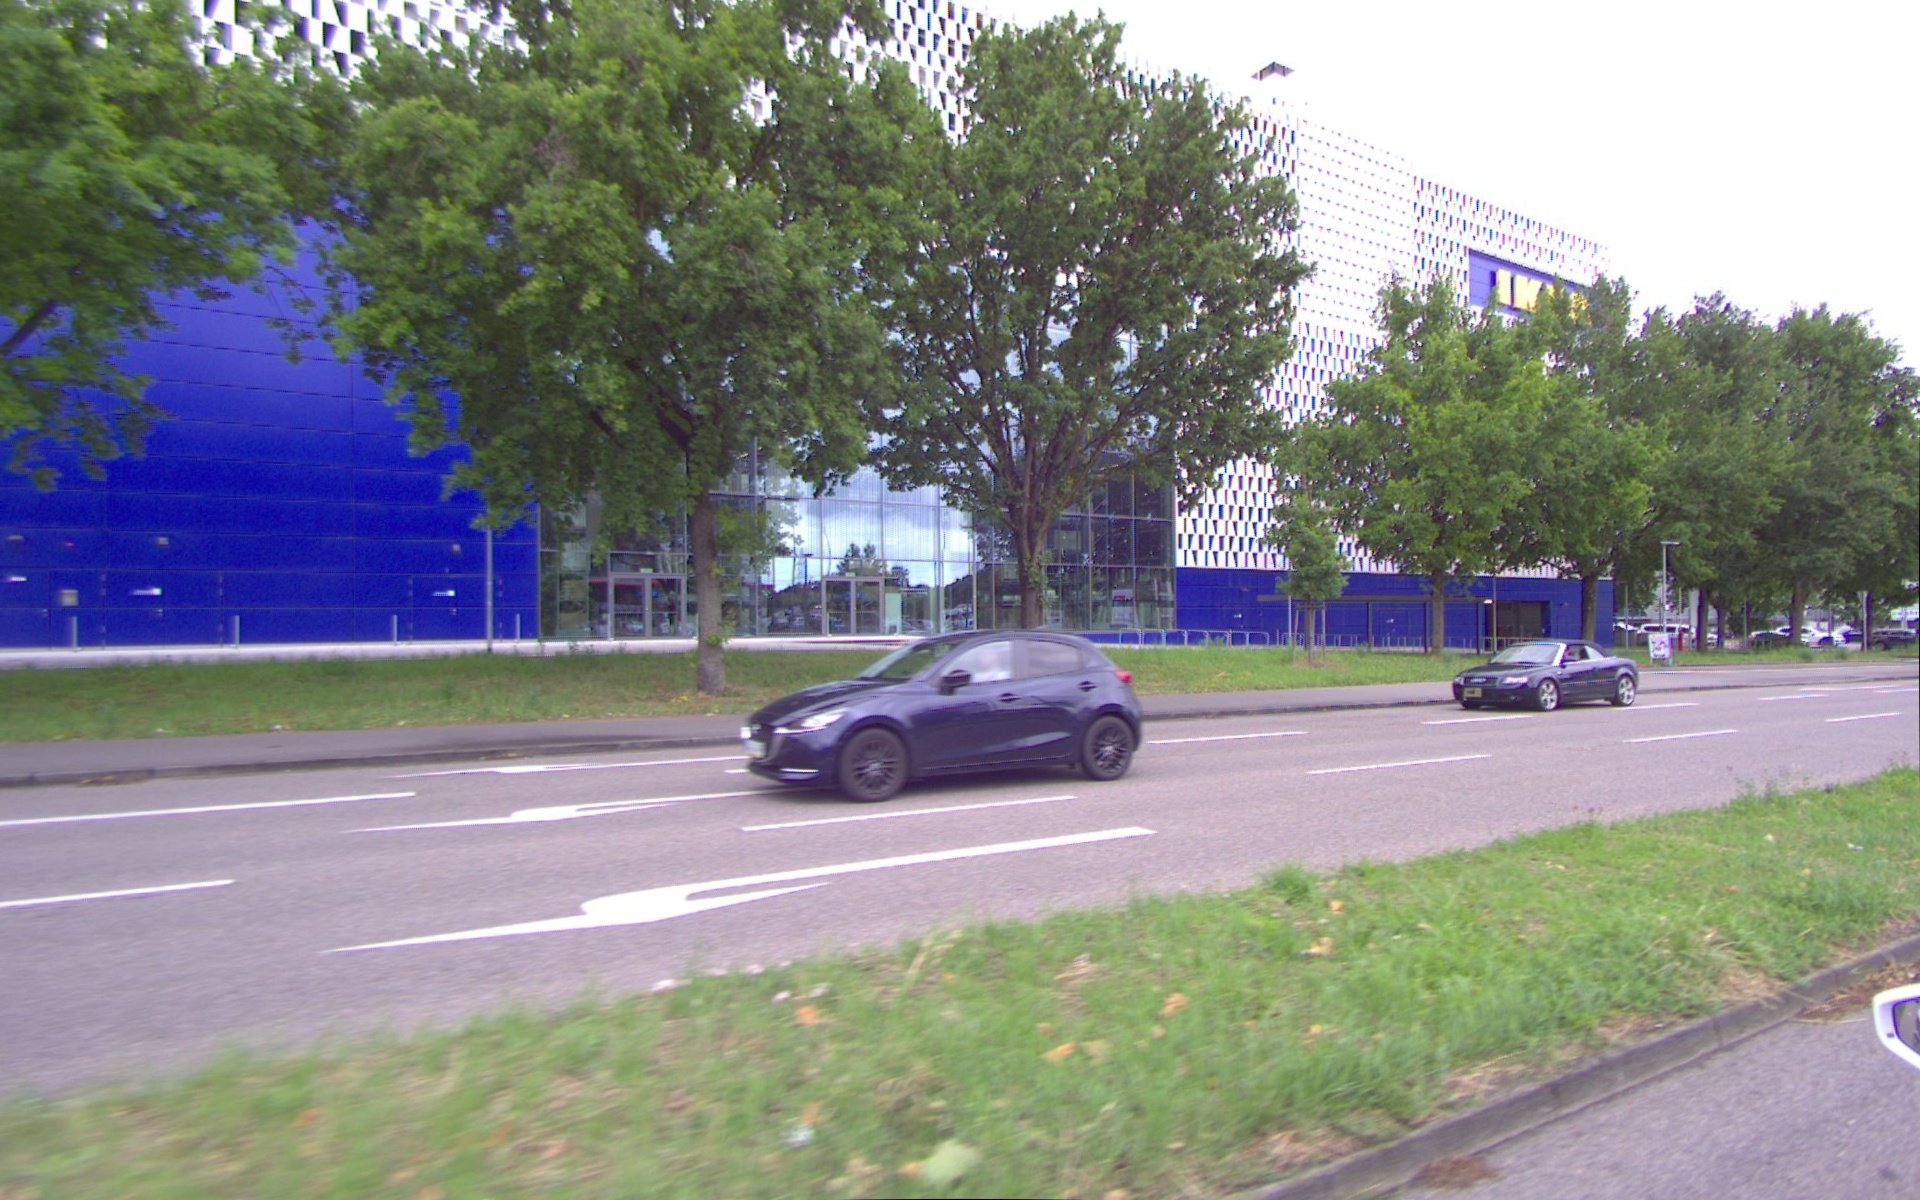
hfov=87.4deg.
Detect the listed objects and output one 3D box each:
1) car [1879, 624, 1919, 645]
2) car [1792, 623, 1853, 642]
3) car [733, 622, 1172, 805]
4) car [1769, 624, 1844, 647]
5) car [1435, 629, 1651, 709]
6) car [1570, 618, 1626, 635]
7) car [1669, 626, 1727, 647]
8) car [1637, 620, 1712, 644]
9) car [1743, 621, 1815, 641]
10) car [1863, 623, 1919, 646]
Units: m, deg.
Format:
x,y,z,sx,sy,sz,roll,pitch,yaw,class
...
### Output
x,y,z,sx,sy,sz,roll,pitch,yaw,class
74.265,2.688,77.798,1.980,1.529,4.221,-1,0,-34,car
77.335,2.882,90.058,1.707,1.657,3.833,-1,0,-34,car
-0.036,0.990,9.846,3.952,1.472,1.750,1,-4,-30,car
70.368,2.892,83.541,1.979,1.734,4.407,-3,1,-33,car
12.003,1.373,20.630,4.349,1.471,1.766,1,-3,-28,car
62.029,2.546,97.701,1.972,1.524,4.205,0,-1,-32,car
66.504,3.306,90.572,1.859,1.770,3.741,-1,0,-31,car
63.281,2.827,89.023,1.859,1.990,5.104,-3,1,-32,car
67.126,2.492,82.353,1.972,1.532,4.205,0,-1,-32,car
71.225,2.561,75.573,1.980,1.681,4.515,0,-2,-34,car
